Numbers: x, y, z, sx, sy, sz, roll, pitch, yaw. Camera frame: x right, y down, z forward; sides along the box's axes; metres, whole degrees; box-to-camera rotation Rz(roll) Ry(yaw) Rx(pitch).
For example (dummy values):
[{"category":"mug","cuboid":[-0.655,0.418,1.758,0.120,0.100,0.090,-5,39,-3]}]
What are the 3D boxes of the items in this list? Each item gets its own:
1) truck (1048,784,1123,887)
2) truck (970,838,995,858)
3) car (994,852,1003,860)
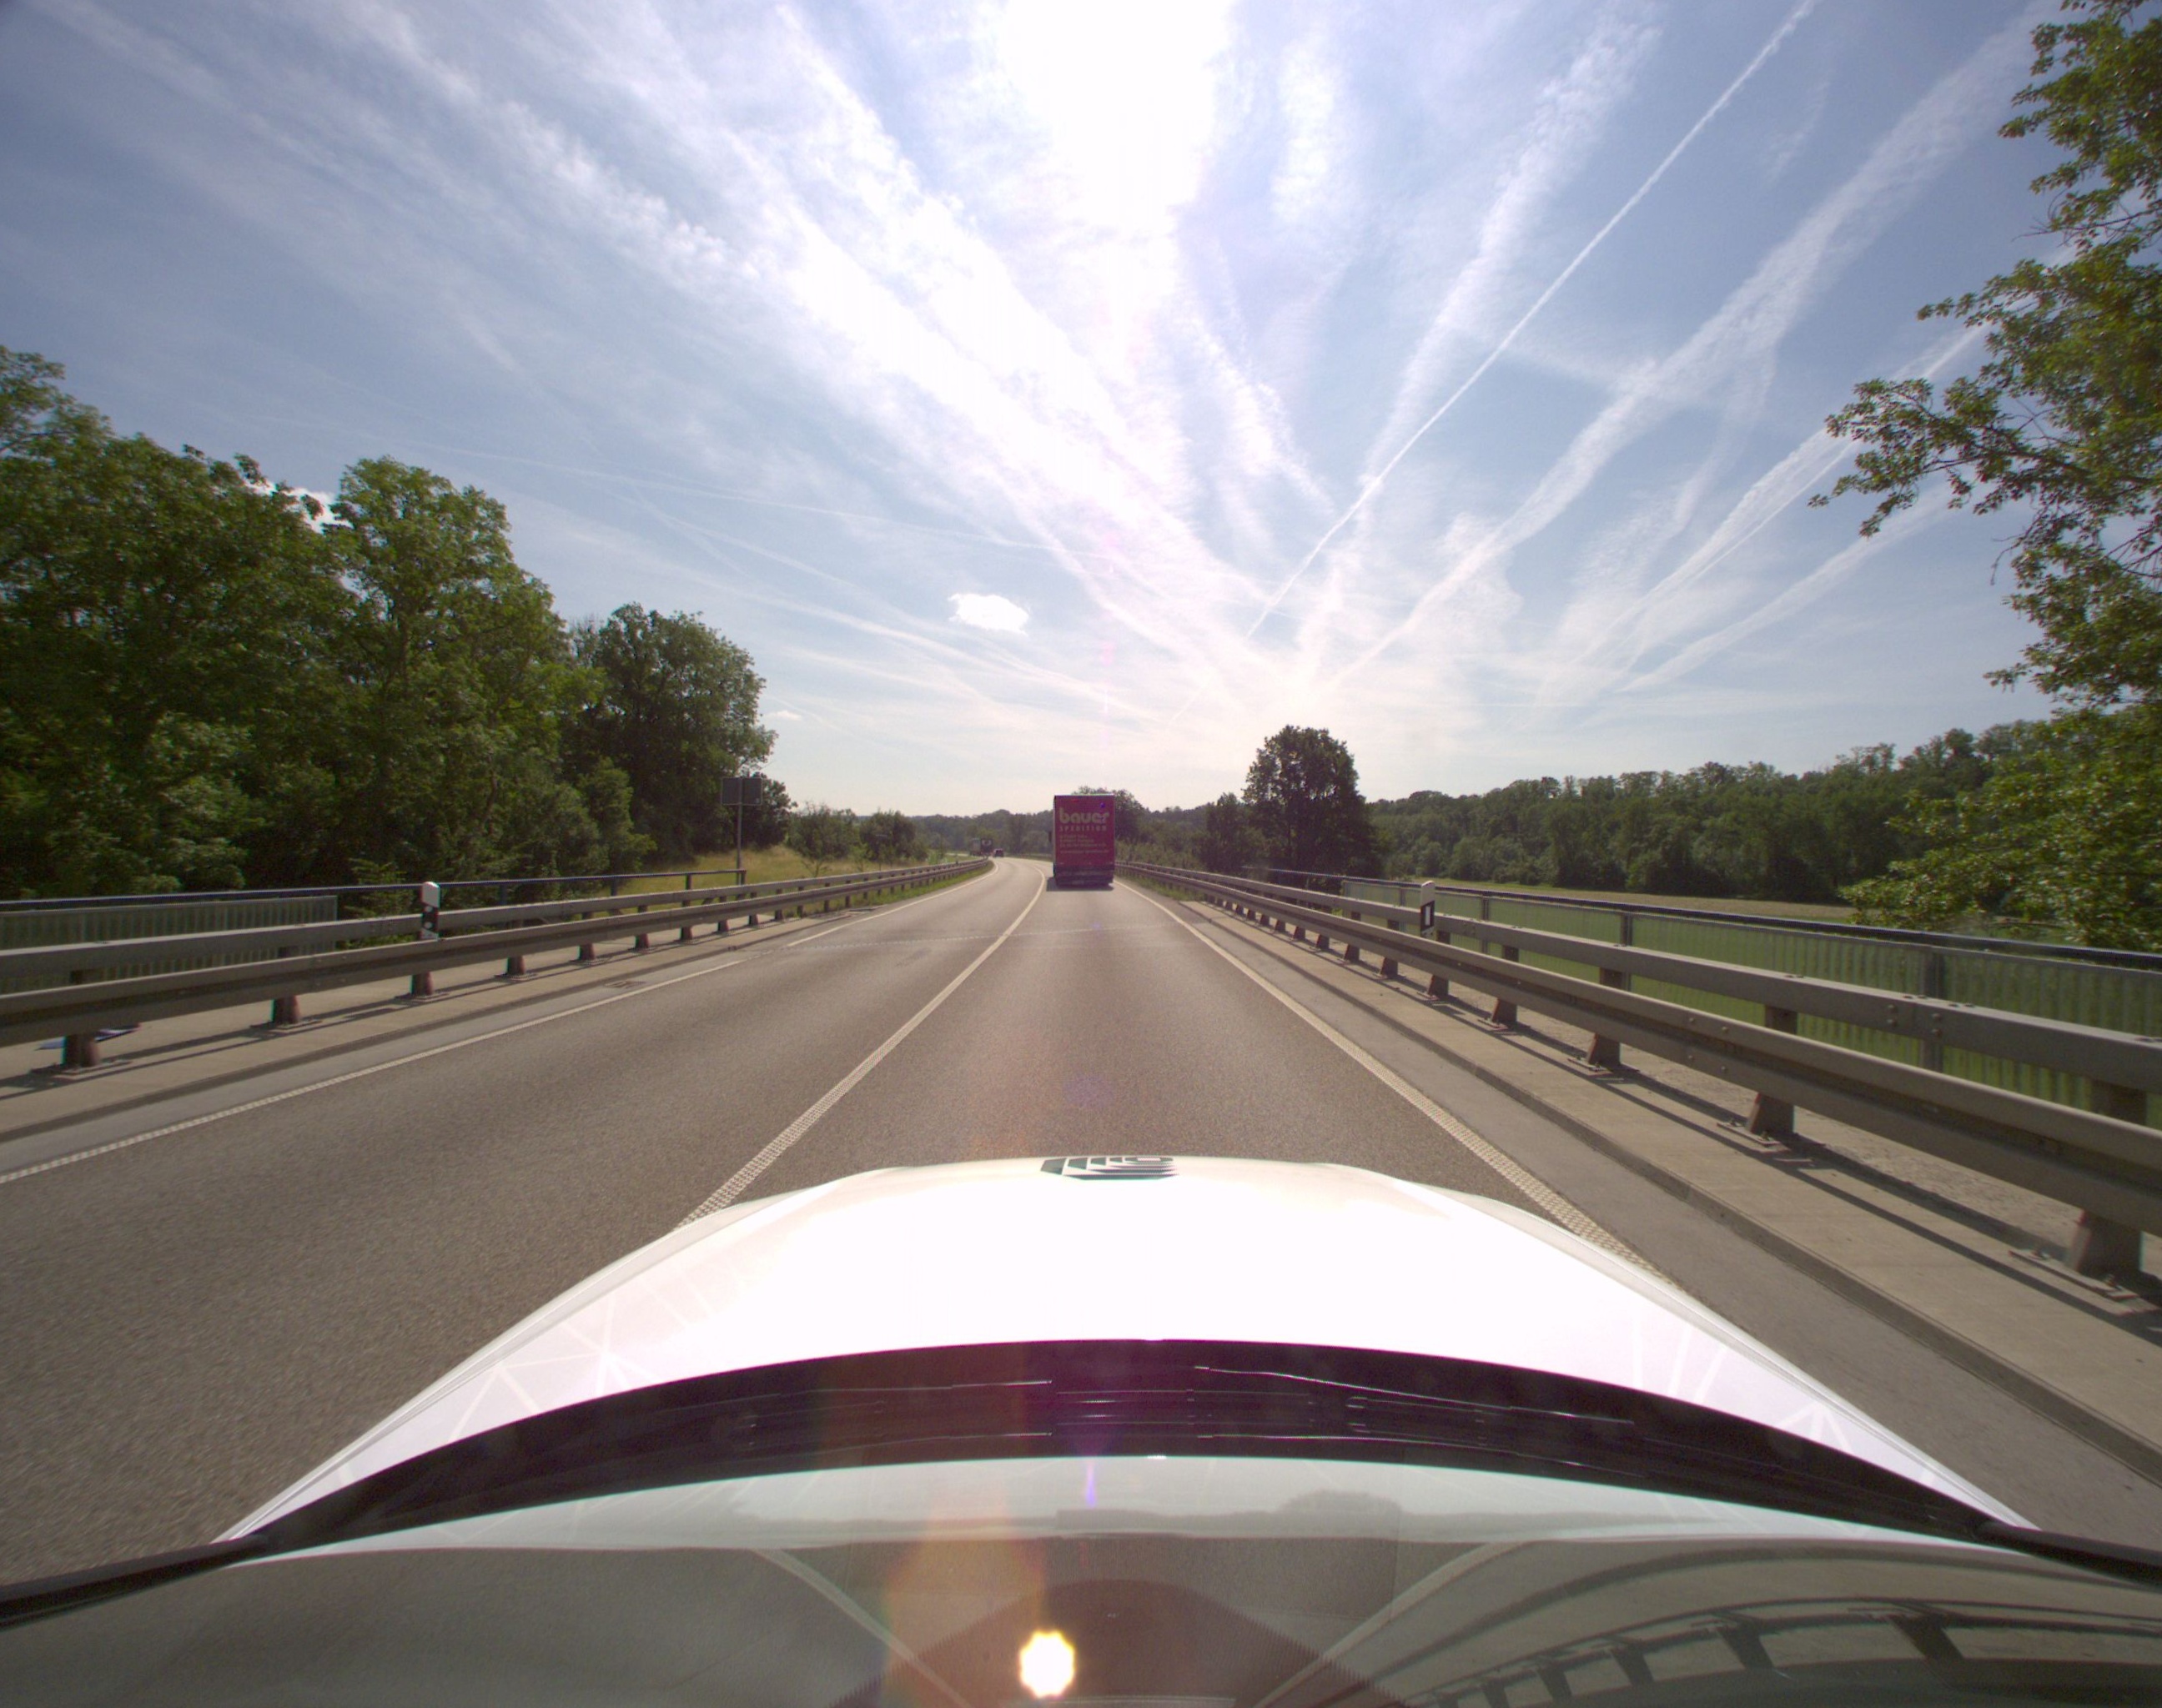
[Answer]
[{"category":"truck","cuboid":[0.130,-0.799,38.112,3.085,4.262,8.311,-1,0,-1]},{"category":"truck","cuboid":[-22.490,-1.317,185.150,3.649,4.292,11.917,-1,0,-17]},{"category":"car","cuboid":[-16.081,0.329,159.495,1.581,1.501,3.865,0,1,-9]}]
